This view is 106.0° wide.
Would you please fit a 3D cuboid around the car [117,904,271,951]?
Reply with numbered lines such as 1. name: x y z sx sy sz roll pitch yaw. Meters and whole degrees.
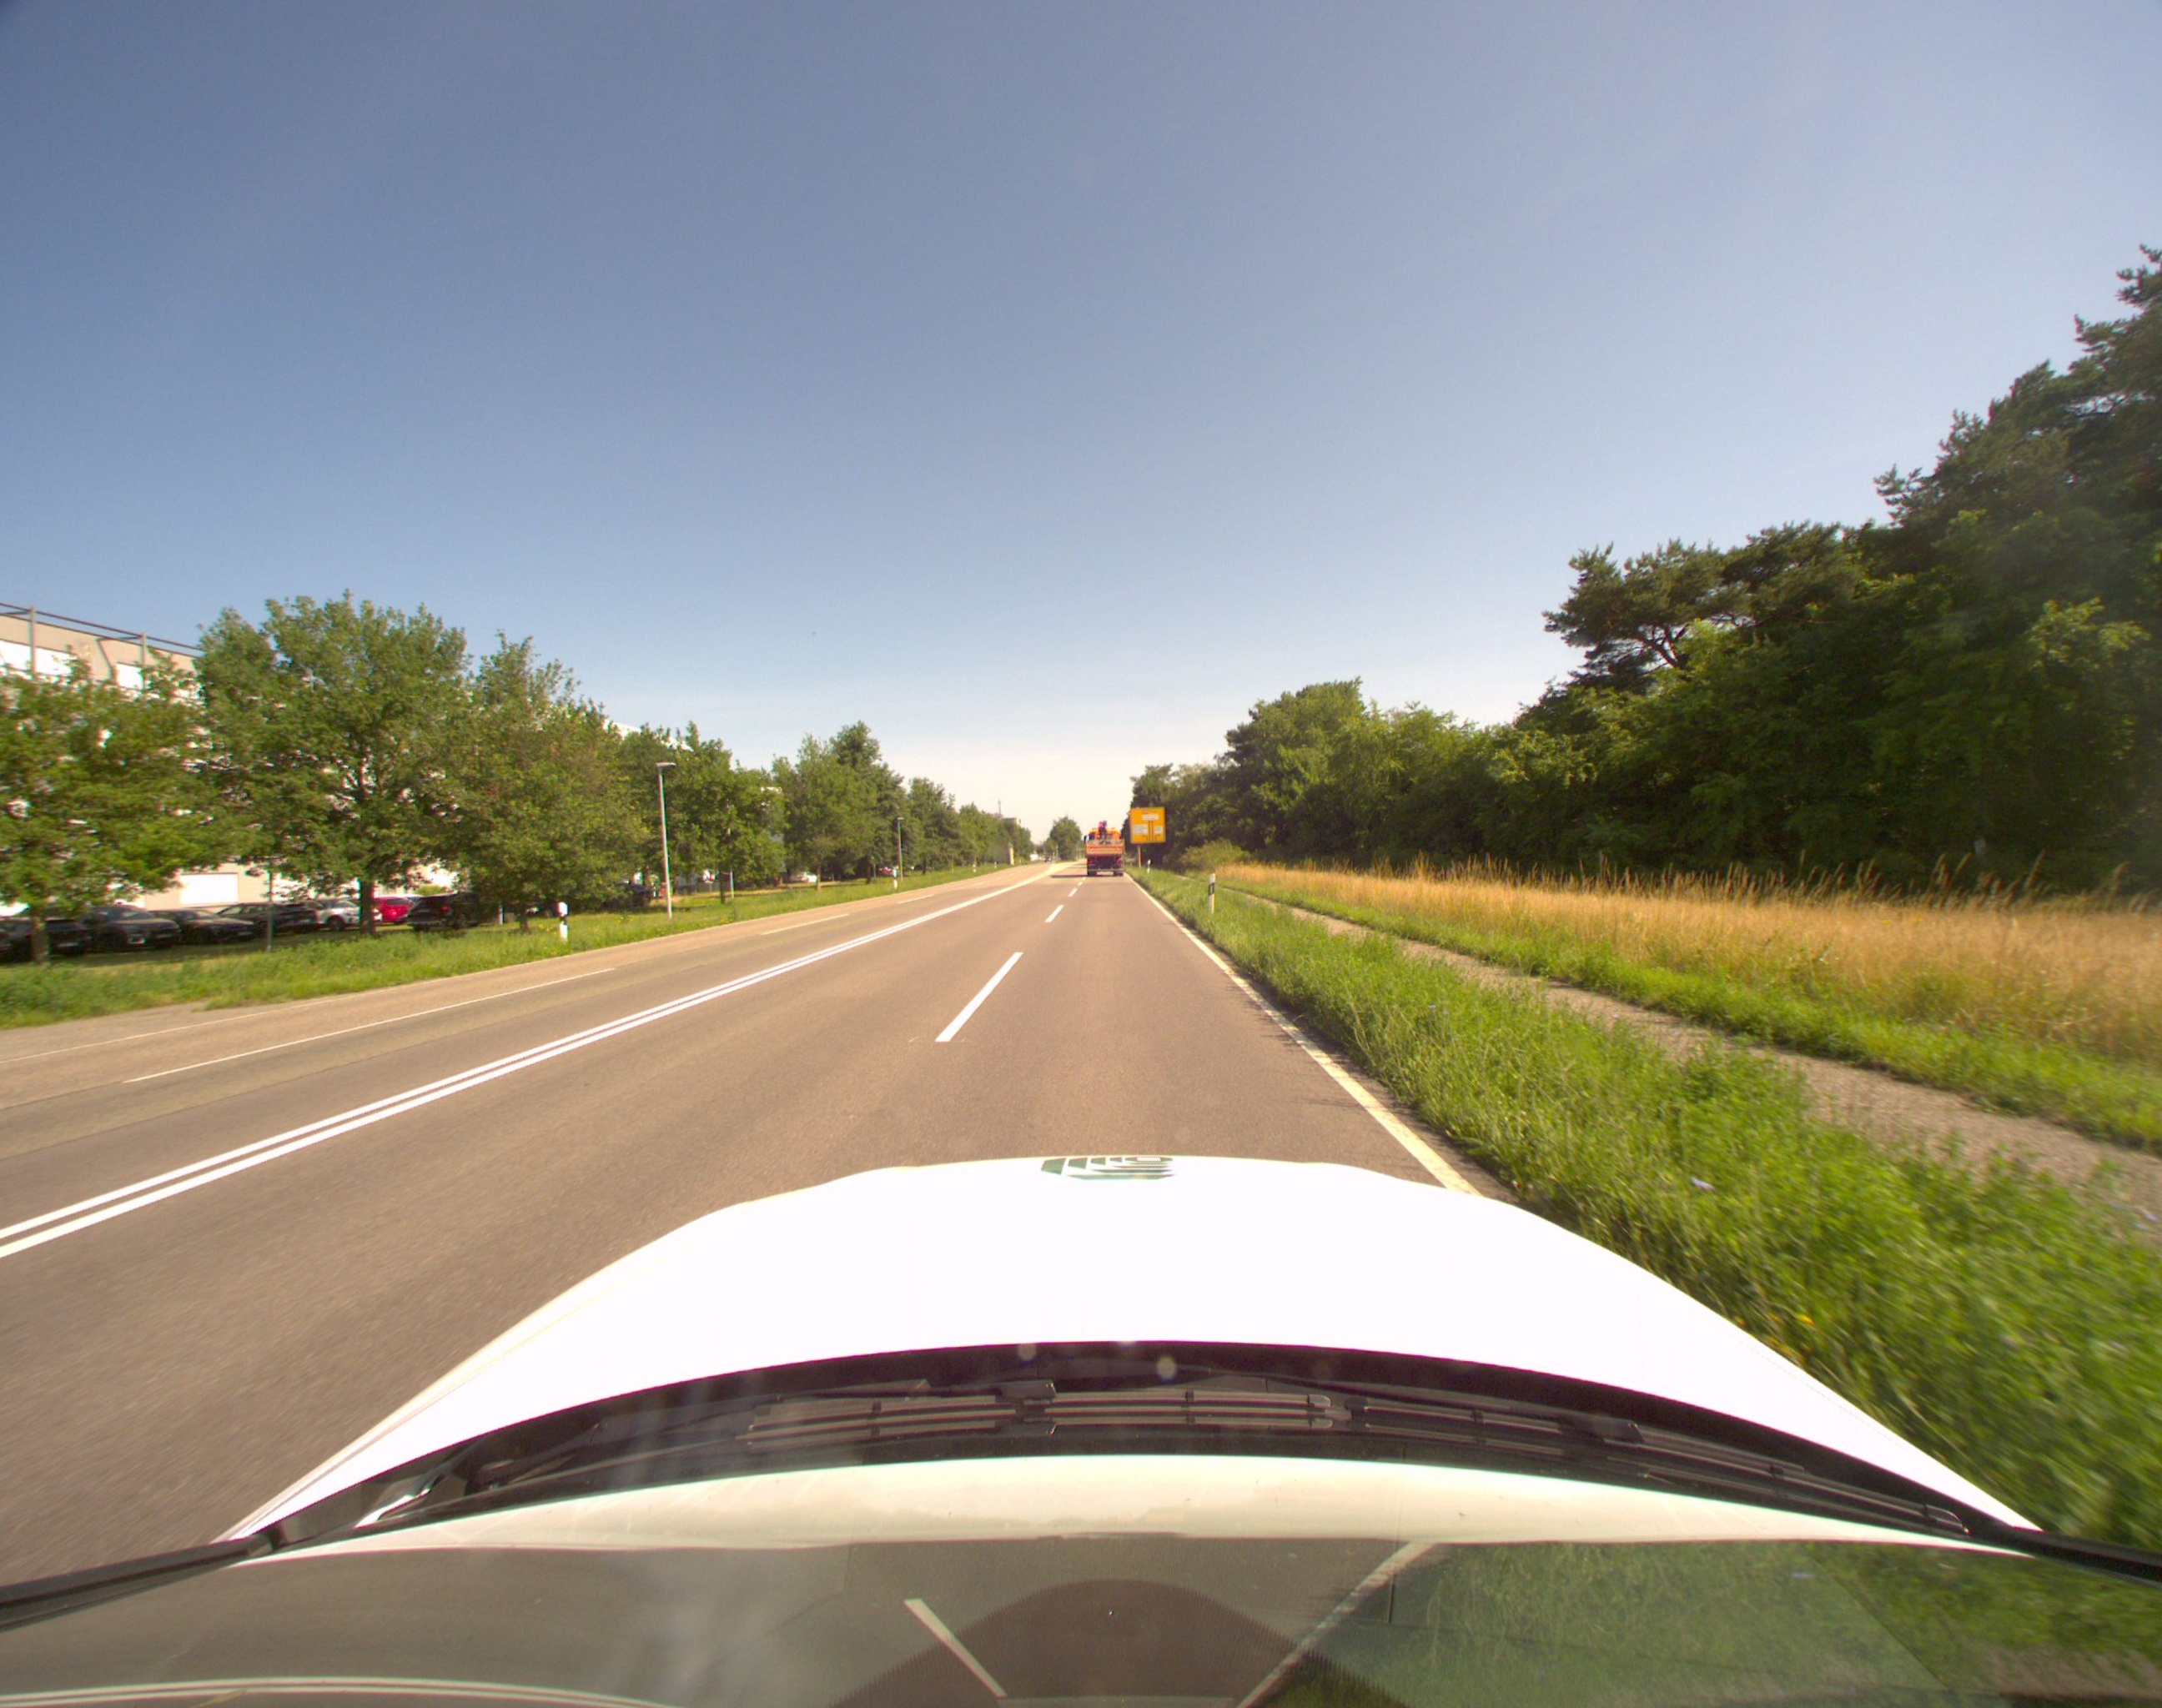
1. car: -35.077 2.887 32.287 3.974 1.536 1.888 -3 0 0

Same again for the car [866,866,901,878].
1. car: -28.723 2.618 118.524 4.578 1.437 2.000 -3 0 1

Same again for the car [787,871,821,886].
1. car: -32.048 2.824 94.458 1.985 1.437 4.959 -3 0 3

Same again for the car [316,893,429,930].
1. car: -35.109 2.847 40.411 3.974 1.536 1.742 -3 0 0

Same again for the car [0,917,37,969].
1. car: -35.150 2.851 24.893 3.974 1.536 1.888 -3 0 0

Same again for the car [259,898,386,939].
1. car: -34.676 2.941 37.315 3.974 1.536 1.888 -3 0 0

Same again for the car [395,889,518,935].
1. car: -27.326 2.491 35.858 1.737 1.578 4.550 -3 0 1

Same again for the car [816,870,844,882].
1. car: -32.152 2.806 104.428 1.986 1.437 4.611 -3 0 1

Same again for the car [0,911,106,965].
1. car: -35.695 2.837 27.174 3.974 1.536 1.888 -3 0 0

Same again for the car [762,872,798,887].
1. car: -34.658 2.955 93.903 1.985 1.437 4.959 -3 0 3

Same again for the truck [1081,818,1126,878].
1. truck: 1.482 -0.400 57.064 2.863 3.880 7.397 0 0 -1

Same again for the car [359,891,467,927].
1. car: -34.995 2.871 42.736 4.121 1.585 1.742 -3 0 0

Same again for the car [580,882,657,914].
1. car: -27.009 2.541 47.737 1.737 1.578 4.550 -3 0 1

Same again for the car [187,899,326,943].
1. car: -35.398 2.857 35.044 3.974 1.536 1.888 -3 0 0

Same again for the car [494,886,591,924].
1. car: -27.241 2.547 41.408 1.737 1.578 4.550 -3 0 1

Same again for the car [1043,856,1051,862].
1. car: -10.122 1.386 242.190 1.794 1.572 4.001 -3 0 1

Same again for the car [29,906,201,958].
1. car: -35.231 2.821 29.787 3.974 1.536 1.888 -3 0 0
